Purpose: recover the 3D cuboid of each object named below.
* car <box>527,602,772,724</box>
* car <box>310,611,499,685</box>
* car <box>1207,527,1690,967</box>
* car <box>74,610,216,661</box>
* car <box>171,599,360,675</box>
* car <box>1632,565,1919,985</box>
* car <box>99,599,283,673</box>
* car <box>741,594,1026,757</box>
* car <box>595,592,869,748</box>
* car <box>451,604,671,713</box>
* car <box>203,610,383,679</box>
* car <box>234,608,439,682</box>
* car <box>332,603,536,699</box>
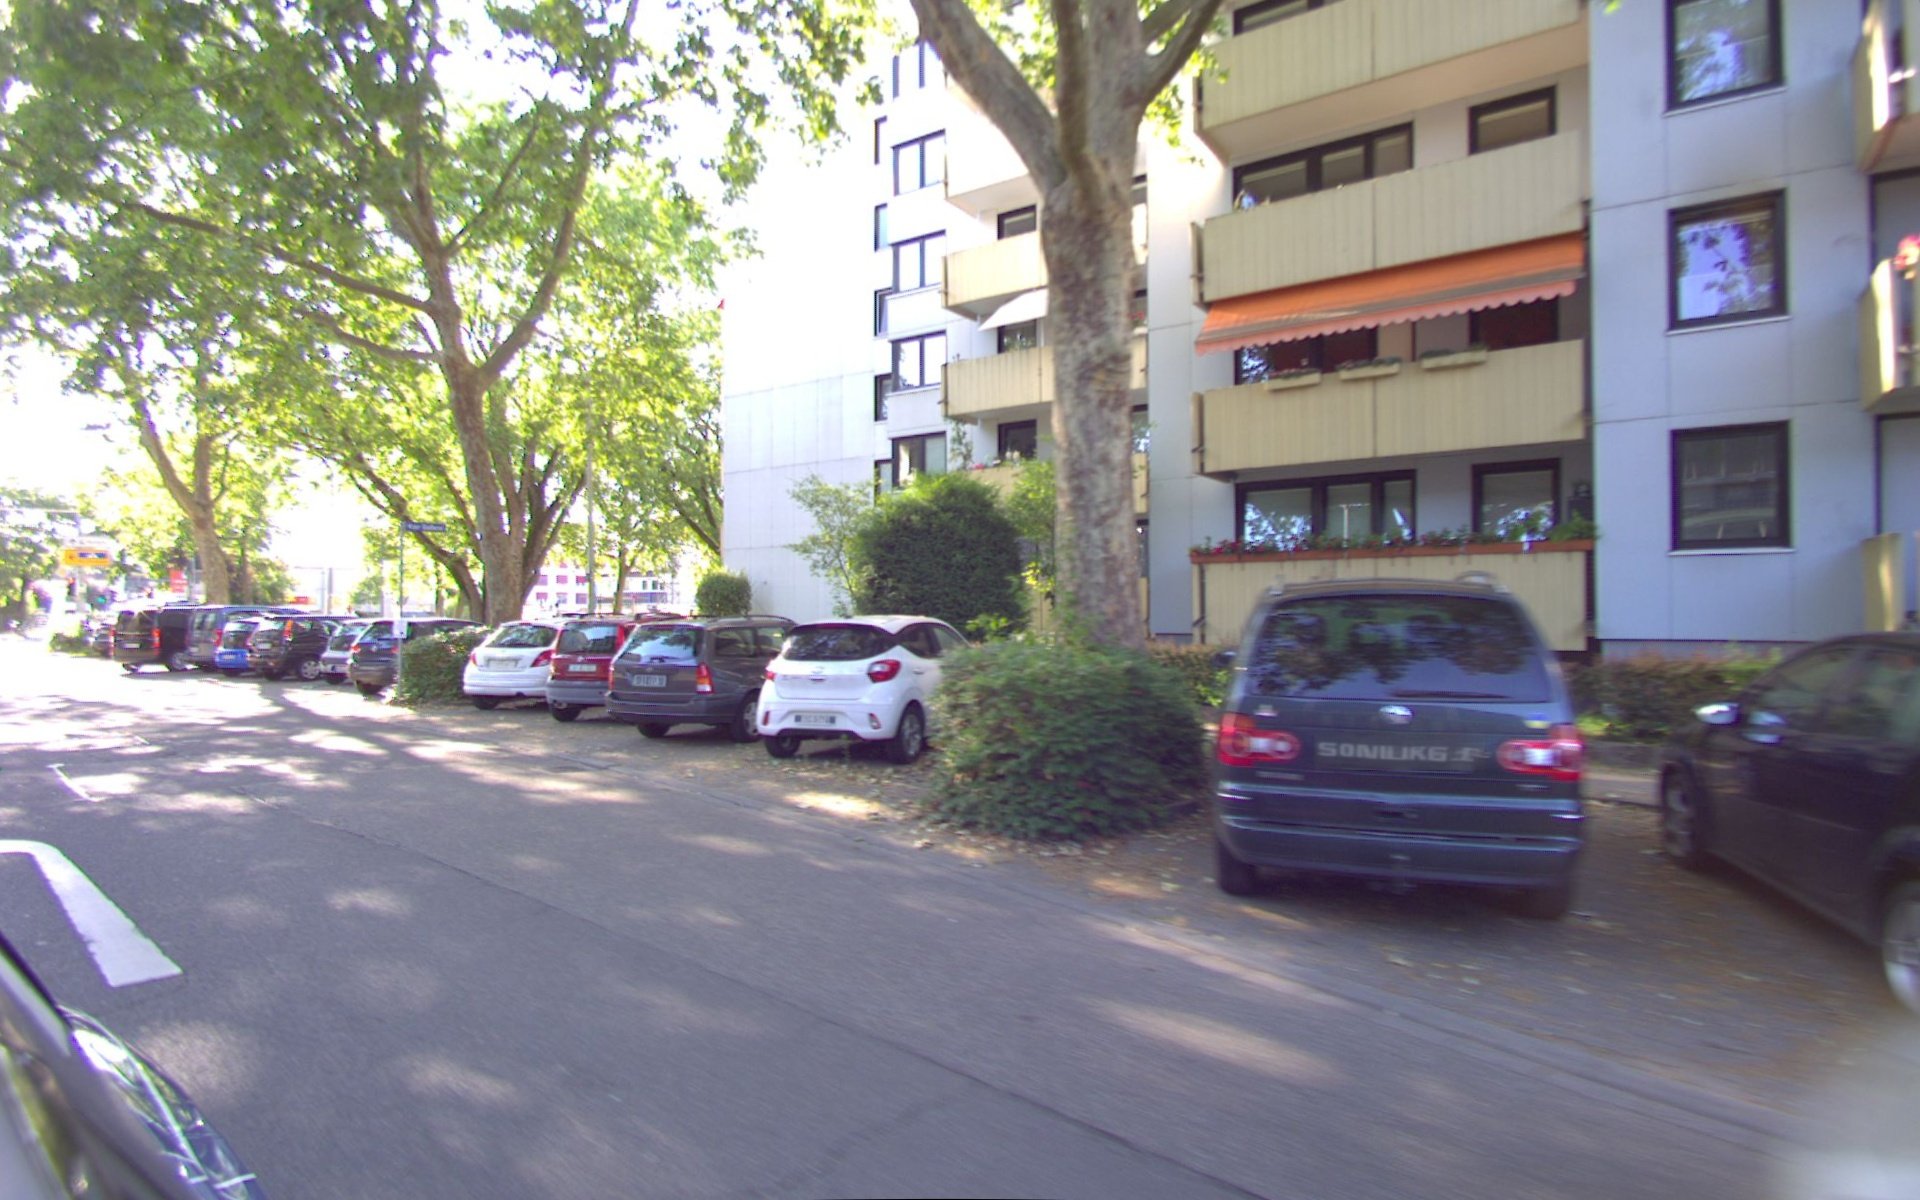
[{"bbox_3d":[-4.612,0.856,15.555,1.640,1.572,3.622,-1,1,23],"label":"car"},{"bbox_3d":[-12.792,1.057,23.530,1.693,1.472,3.625,-1,1,20],"label":"car"},{"bbox_3d":[2.722,0.575,6.436,1.891,1.788,4.244,-1,1,18],"label":"car"},{"bbox_3d":[-29.479,1.233,36.769,1.696,1.654,3.992,-1,1,7],"label":"car"},{"bbox_3d":[-19.197,0.963,28.167,1.823,1.896,3.966,-1,1,25],"label":"car"},{"bbox_3d":[4.681,0.627,4.575,1.685,1.572,3.631,-1,1,16],"label":"car"},{"bbox_3d":[-21.862,0.973,28.982,1.701,1.900,3.981,-1,1,15],"label":"car"},{"bbox_3d":[-0.695,0.735,11.644,1.765,1.505,3.633,-2,0,23],"label":"car"},{"bbox_3d":[-2.768,0.764,13.093,1.640,1.674,3.622,-1,1,23],"label":"car"},{"bbox_3d":[-6.672,0.907,17.345,1.693,1.572,3.633,-1,1,14],"label":"car"},{"bbox_3d":[-17.143,1.093,26.183,1.640,1.572,3.572,-1,1,23],"label":"car"},{"bbox_3d":[-15.182,1.029,24.873,1.789,1.637,3.964,-1,0,27],"label":"car"},{"bbox_3d":[-10.510,0.951,20.525,1.635,1.674,3.632,-1,1,15],"label":"car"}]
